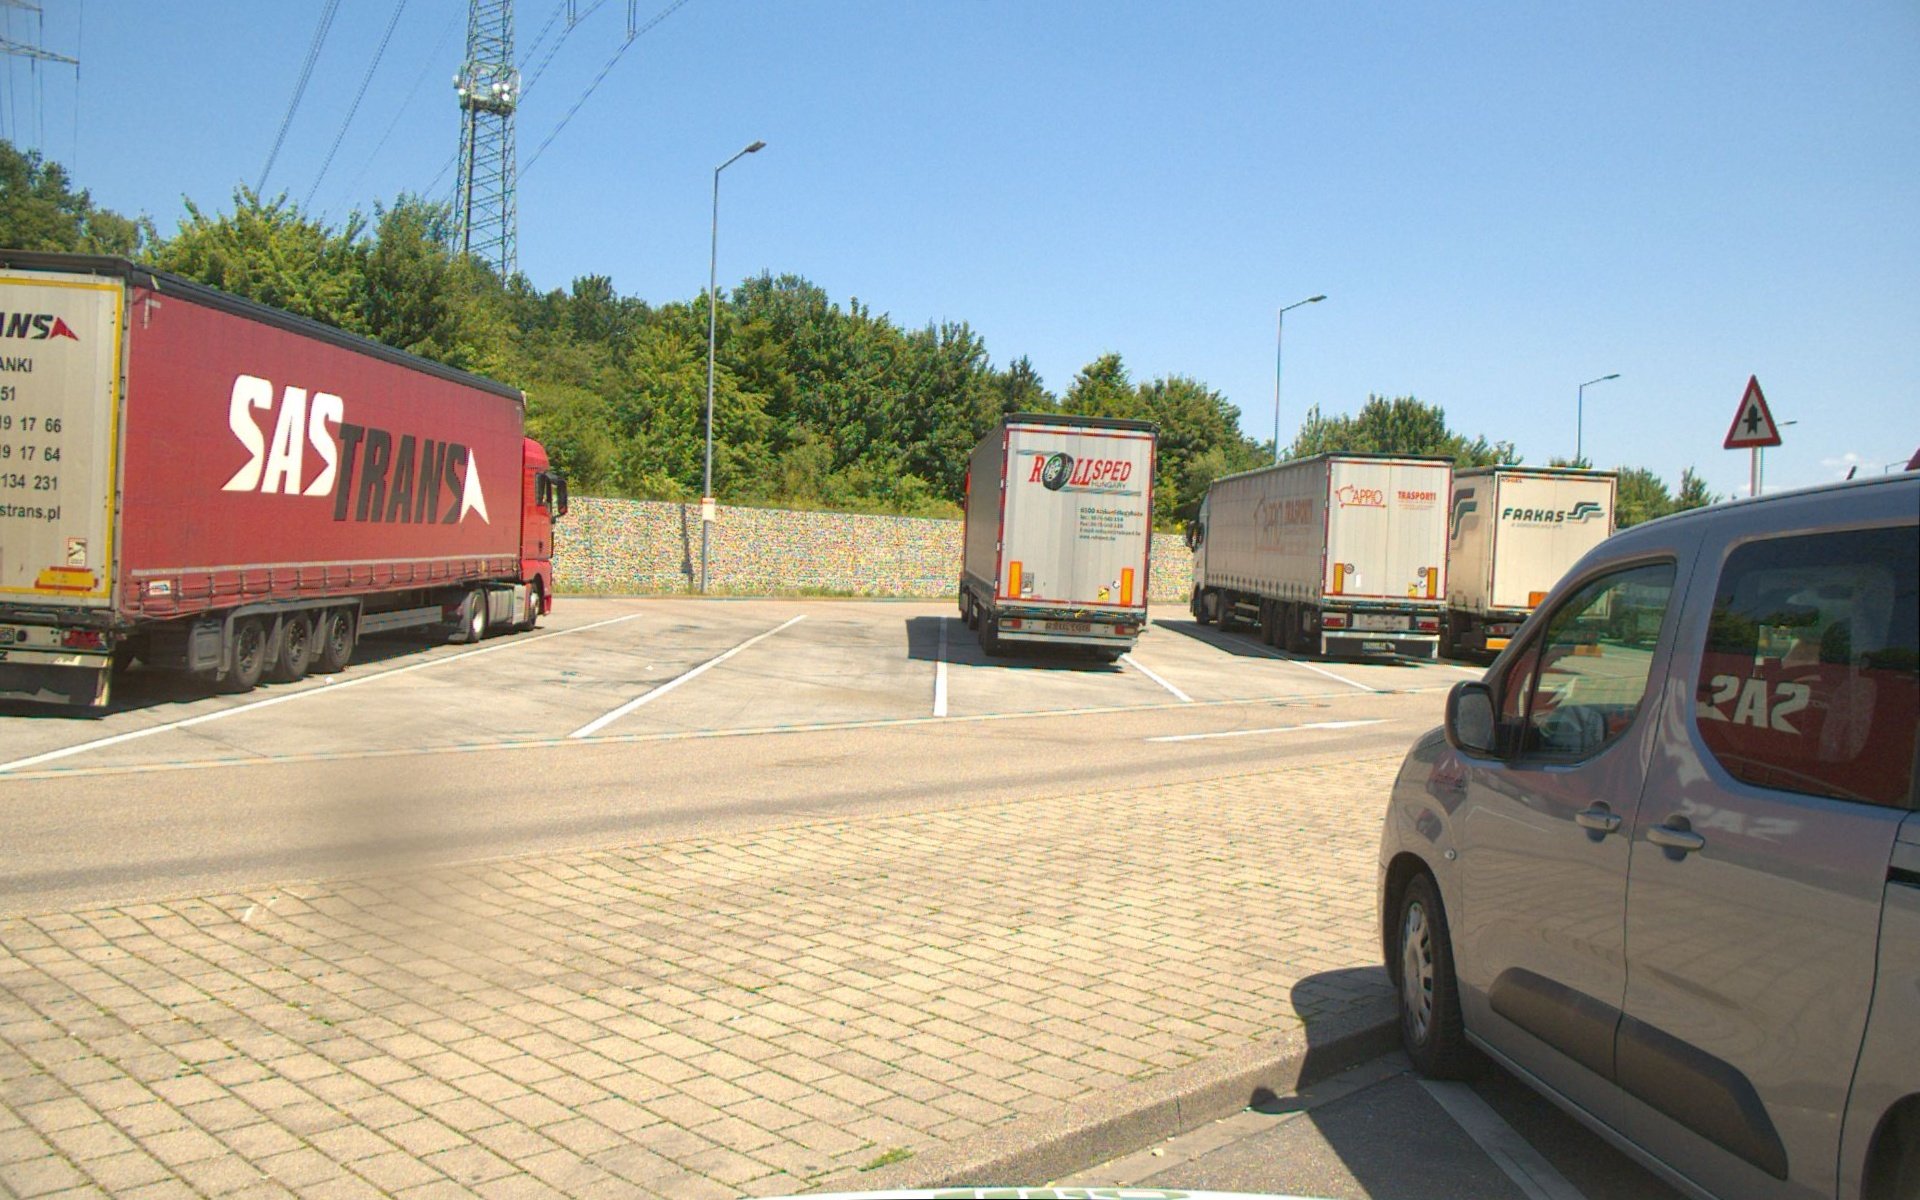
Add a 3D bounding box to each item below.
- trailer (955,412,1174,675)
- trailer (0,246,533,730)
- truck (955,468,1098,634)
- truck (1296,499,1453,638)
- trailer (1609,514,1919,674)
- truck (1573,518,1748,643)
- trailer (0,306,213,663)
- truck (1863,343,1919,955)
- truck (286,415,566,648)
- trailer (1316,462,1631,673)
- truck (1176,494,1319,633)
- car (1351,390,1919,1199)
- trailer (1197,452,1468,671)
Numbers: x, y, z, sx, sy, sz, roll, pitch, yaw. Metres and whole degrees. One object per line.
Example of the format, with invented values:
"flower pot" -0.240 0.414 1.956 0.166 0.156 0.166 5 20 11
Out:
"trailer" 1.651 -1.192 33.656 3.070 4.058 14.393 3 2 -1
"trailer" -8.730 -1.291 21.447 2.735 4.155 14.131 3 2 -1
"truck" 1.493 -1.239 40.546 3.041 3.628 5.900 3 2 -1
"truck" 11.635 -0.958 46.980 2.746 3.582 5.900 3 2 -1
"trailer" 21.834 -0.384 44.524 2.754 3.568 14.395 3 2 -1
"truck" 21.755 -0.690 51.754 2.746 3.582 5.900 3 2 -1
"trailer" -12.556 -1.337 17.724 2.739 4.155 14.131 3 2 -1
"truck" 4.999 0.205 4.994 1.937 2.668 5.307 1 0 4
"truck" -8.797 -1.152 28.018 2.793 3.385 5.900 3 2 -1
"trailer" 11.725 -0.931 39.972 2.754 4.058 14.395 3 2 -1
"truck" 8.043 -1.091 46.966 2.805 3.582 5.900 3 2 -1
"car" 2.438 0.608 3.870 1.832 1.895 4.174 3 1 -2
"trailer" 8.163 -1.027 38.866 2.754 4.058 14.395 3 2 -1
